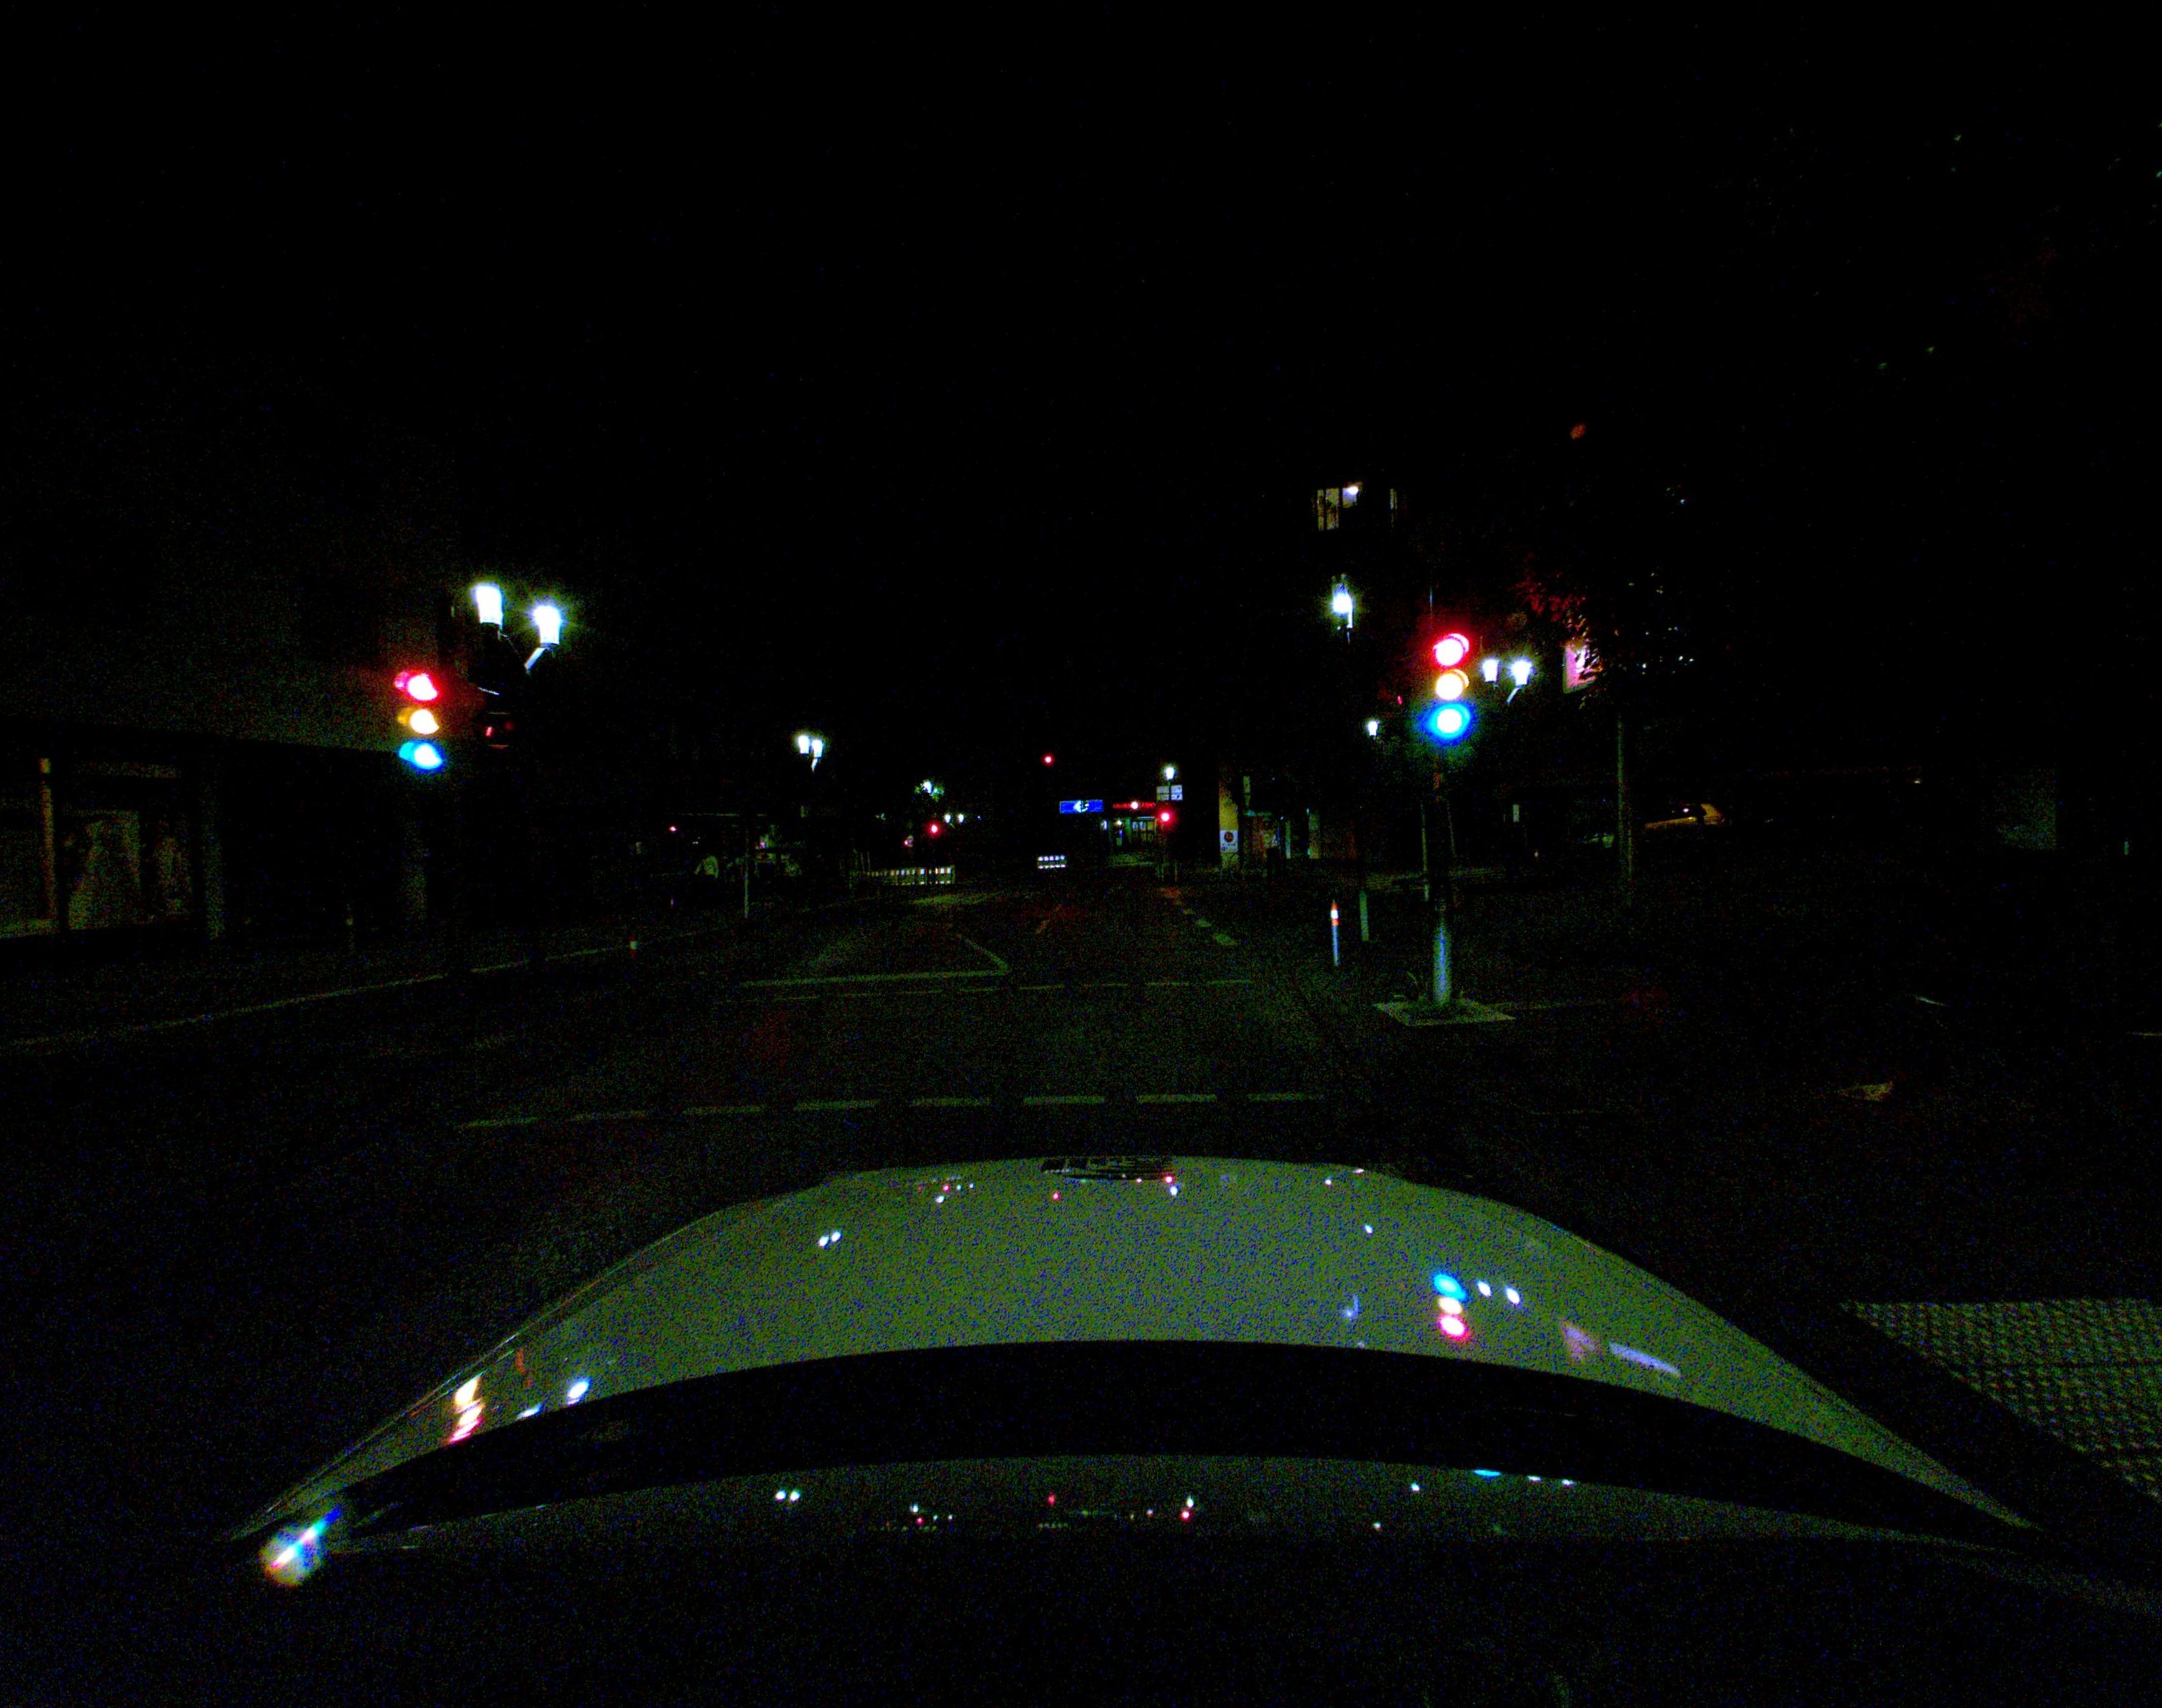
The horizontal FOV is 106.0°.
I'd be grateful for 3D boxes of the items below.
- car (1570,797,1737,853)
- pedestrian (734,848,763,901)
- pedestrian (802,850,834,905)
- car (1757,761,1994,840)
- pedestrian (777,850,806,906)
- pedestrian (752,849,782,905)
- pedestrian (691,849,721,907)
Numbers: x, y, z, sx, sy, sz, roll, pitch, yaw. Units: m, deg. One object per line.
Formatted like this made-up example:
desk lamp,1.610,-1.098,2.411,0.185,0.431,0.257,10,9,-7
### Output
car,18.519,-0.924,26.514,4.019,1.452,1.830,-4,0,8
pedestrian,-11.303,0.692,27.659,0.712,1.795,0.571,-1,-2,8
pedestrian,-8.778,0.785,27.206,0.709,1.795,0.741,-1,-2,24
car,23.398,-1.480,24.329,4.783,1.910,2.172,-2,-2,37
pedestrian,-9.346,0.773,26.294,0.712,1.795,0.571,-1,-2,8
pedestrian,-10.163,0.750,26.392,0.712,1.795,0.571,-1,-2,8
pedestrian,-11.693,0.748,25.378,0.716,1.795,0.567,0,-2,-10
